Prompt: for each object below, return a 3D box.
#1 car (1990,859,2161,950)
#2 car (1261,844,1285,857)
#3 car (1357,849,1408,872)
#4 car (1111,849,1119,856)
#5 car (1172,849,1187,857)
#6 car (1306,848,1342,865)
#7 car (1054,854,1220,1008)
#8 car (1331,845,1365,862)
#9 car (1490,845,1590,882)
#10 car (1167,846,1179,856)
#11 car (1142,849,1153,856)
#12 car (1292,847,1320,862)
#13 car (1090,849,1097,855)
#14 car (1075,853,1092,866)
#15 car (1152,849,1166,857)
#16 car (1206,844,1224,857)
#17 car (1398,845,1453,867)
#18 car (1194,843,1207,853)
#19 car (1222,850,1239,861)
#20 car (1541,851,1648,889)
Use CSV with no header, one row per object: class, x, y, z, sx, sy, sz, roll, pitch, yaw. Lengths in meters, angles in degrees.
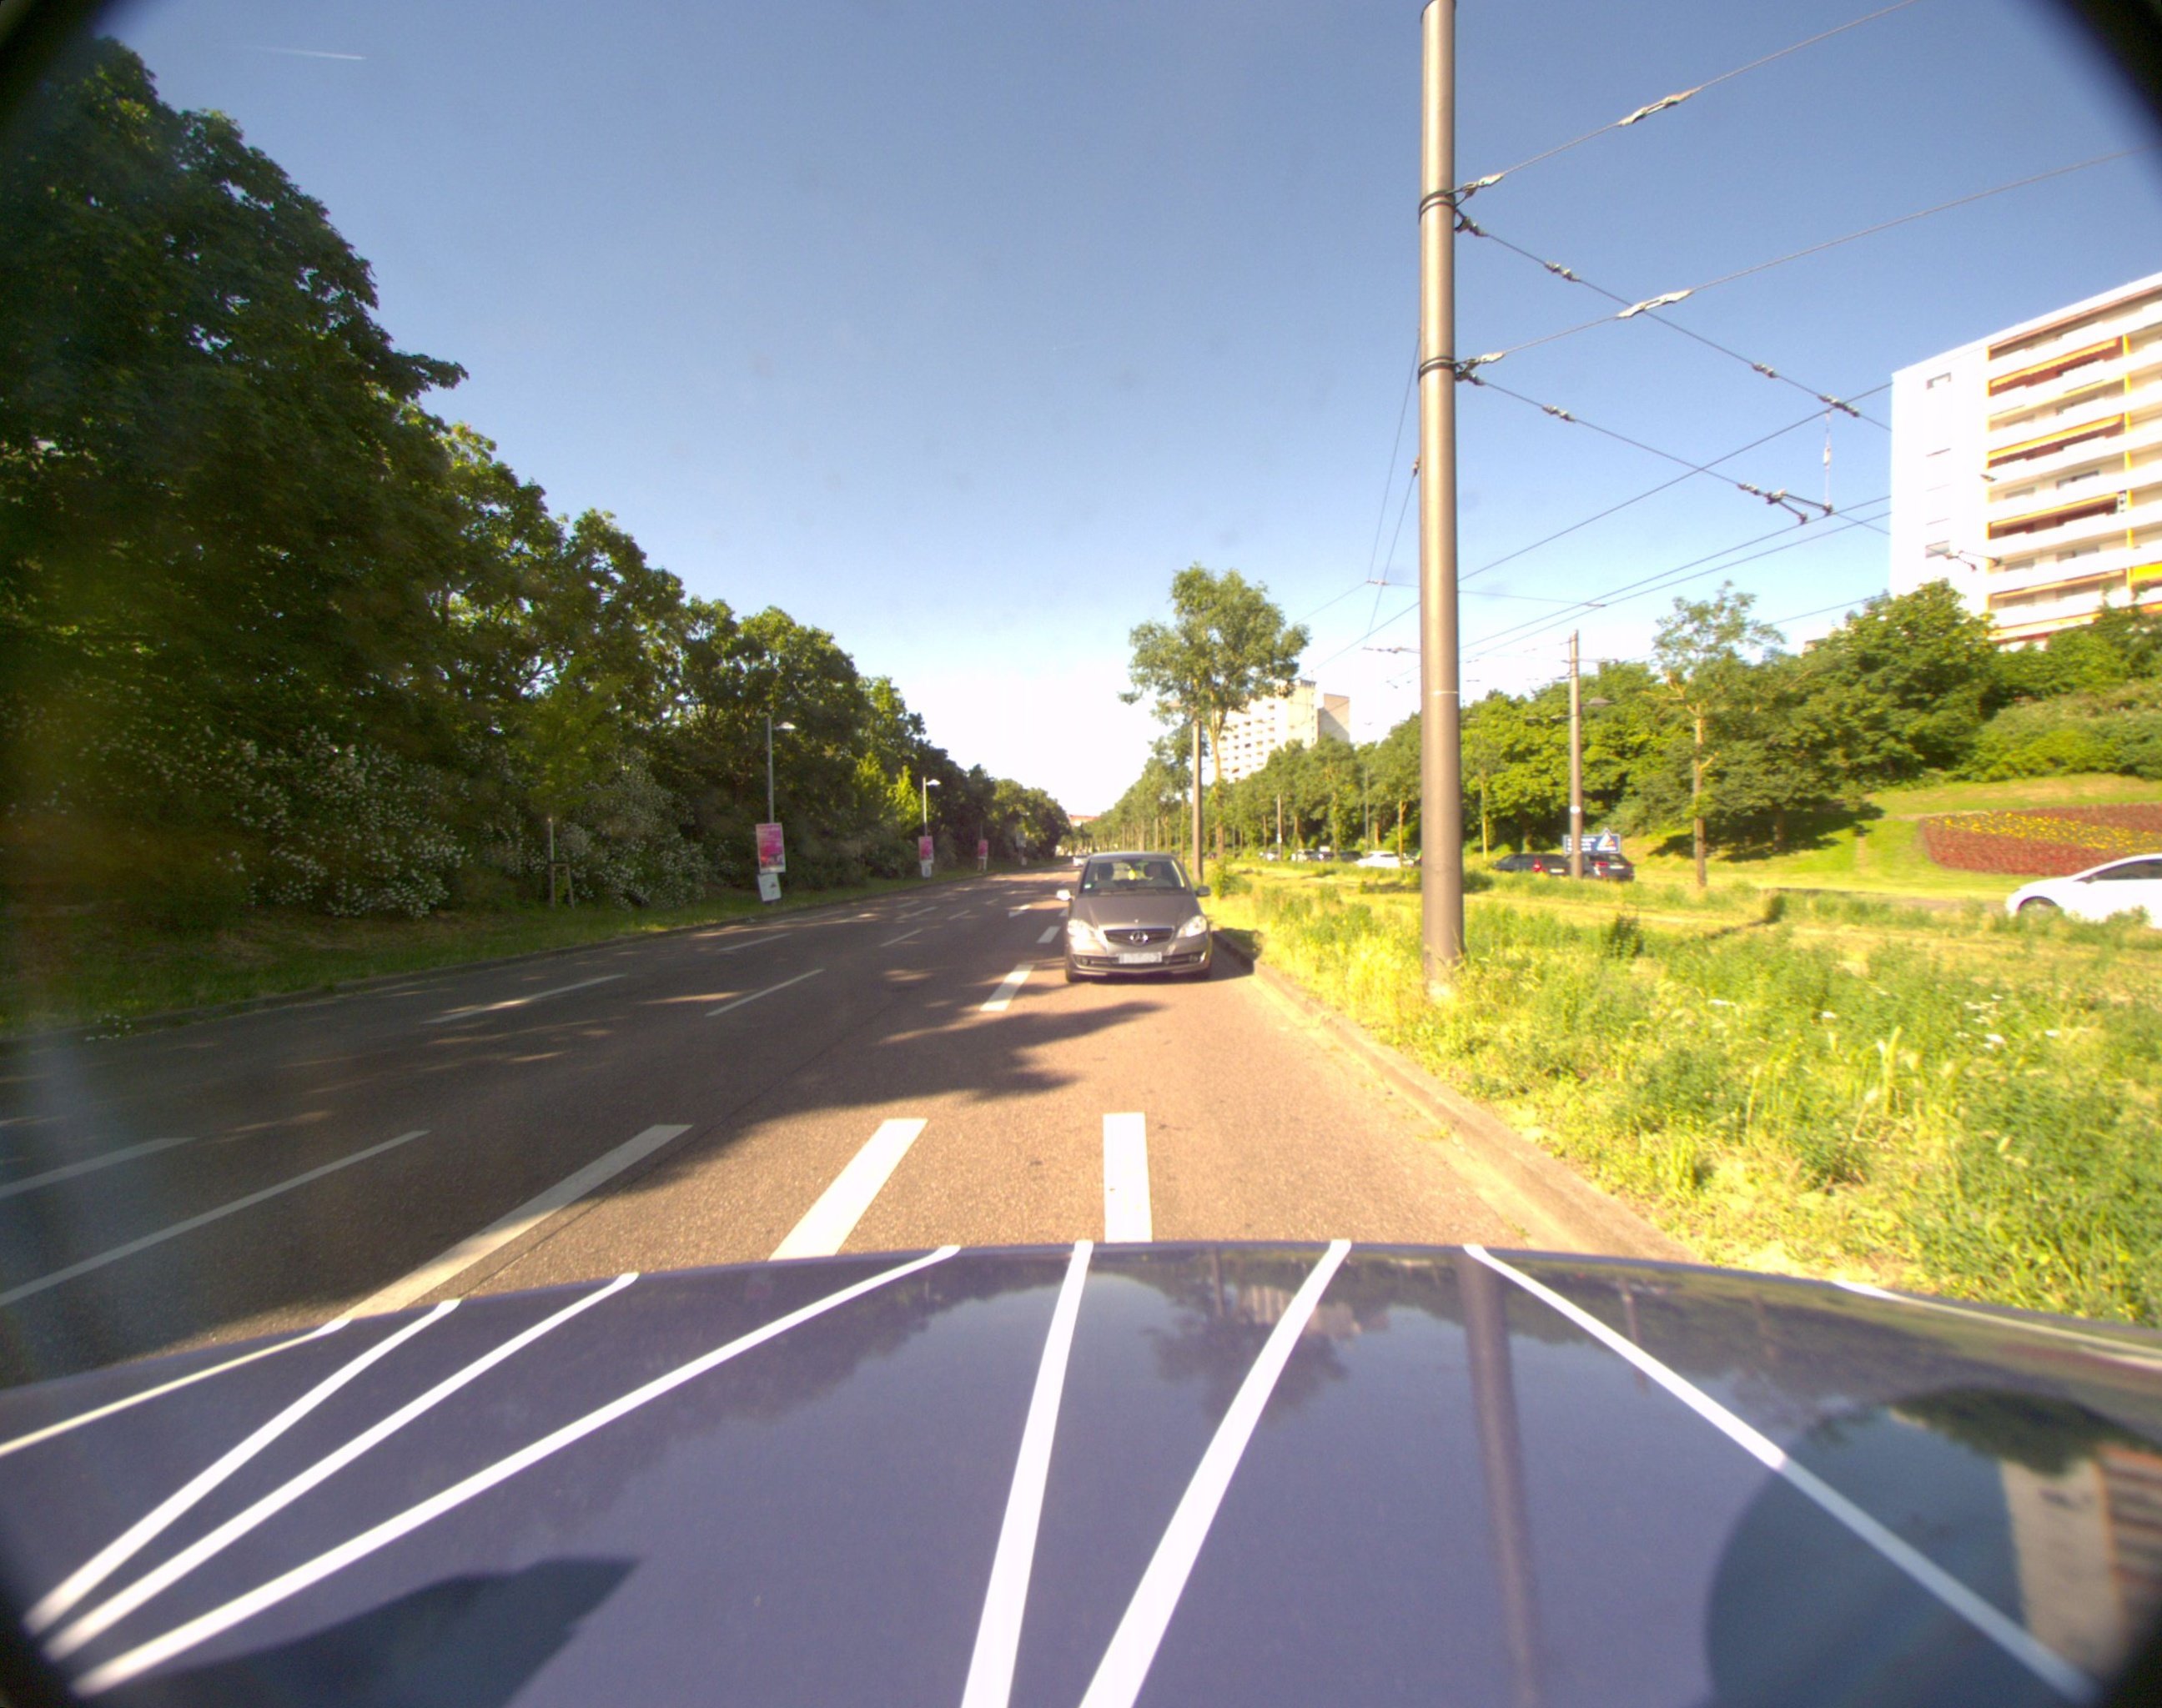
car,18.104,0.821,12.429,1.693,1.399,4.021,-1,0,1
car,23.046,-0.401,91.319,1.998,1.477,4.000,-1,0,1
car,19.313,0.399,48.896,1.867,1.410,4.000,-1,0,3
car,9.725,-0.512,218.458,1.942,2.002,3.999,-1,0,-2
car,20.101,-0.238,155.602,1.911,1.652,3.996,-1,0,-11
car,20.068,0.175,62.902,1.825,1.353,4.230,-1,0,3
car,0.632,0.833,10.137,1.759,1.612,3.880,-1,0,1
car,22.757,-0.049,64.892,1.740,1.368,4.001,-1,0,4
car,19.039,0.364,31.764,1.799,1.408,4.311,-1,0,4
car,17.016,-0.549,140.970,1.882,1.755,4.000,-1,0,1
car,16.628,-0.369,190.336,1.884,1.755,3.996,-1,0,-9
car,23.081,0.044,78.022,1.847,1.390,4.000,-1,0,2
car,4.047,-0.616,252.359,1.999,2.002,3.998,-1,0,-3
car,0.314,0.593,88.585,1.875,1.428,4.594,-1,0,2
car,16.931,-0.220,165.360,1.911,1.652,3.996,-1,0,-10
car,18.915,-0.520,107.130,1.882,1.755,4.000,-1,0,1
car,22.845,0.127,50.540,1.867,1.410,4.000,-1,0,1
car,21.824,-1.079,138.907,1.882,1.755,4.000,-1,0,1
car,21.908,0.201,111.505,1.802,1.455,4.000,-1,0,1
car,22.115,0.640,32.941,1.792,1.499,4.240,-1,0,1
